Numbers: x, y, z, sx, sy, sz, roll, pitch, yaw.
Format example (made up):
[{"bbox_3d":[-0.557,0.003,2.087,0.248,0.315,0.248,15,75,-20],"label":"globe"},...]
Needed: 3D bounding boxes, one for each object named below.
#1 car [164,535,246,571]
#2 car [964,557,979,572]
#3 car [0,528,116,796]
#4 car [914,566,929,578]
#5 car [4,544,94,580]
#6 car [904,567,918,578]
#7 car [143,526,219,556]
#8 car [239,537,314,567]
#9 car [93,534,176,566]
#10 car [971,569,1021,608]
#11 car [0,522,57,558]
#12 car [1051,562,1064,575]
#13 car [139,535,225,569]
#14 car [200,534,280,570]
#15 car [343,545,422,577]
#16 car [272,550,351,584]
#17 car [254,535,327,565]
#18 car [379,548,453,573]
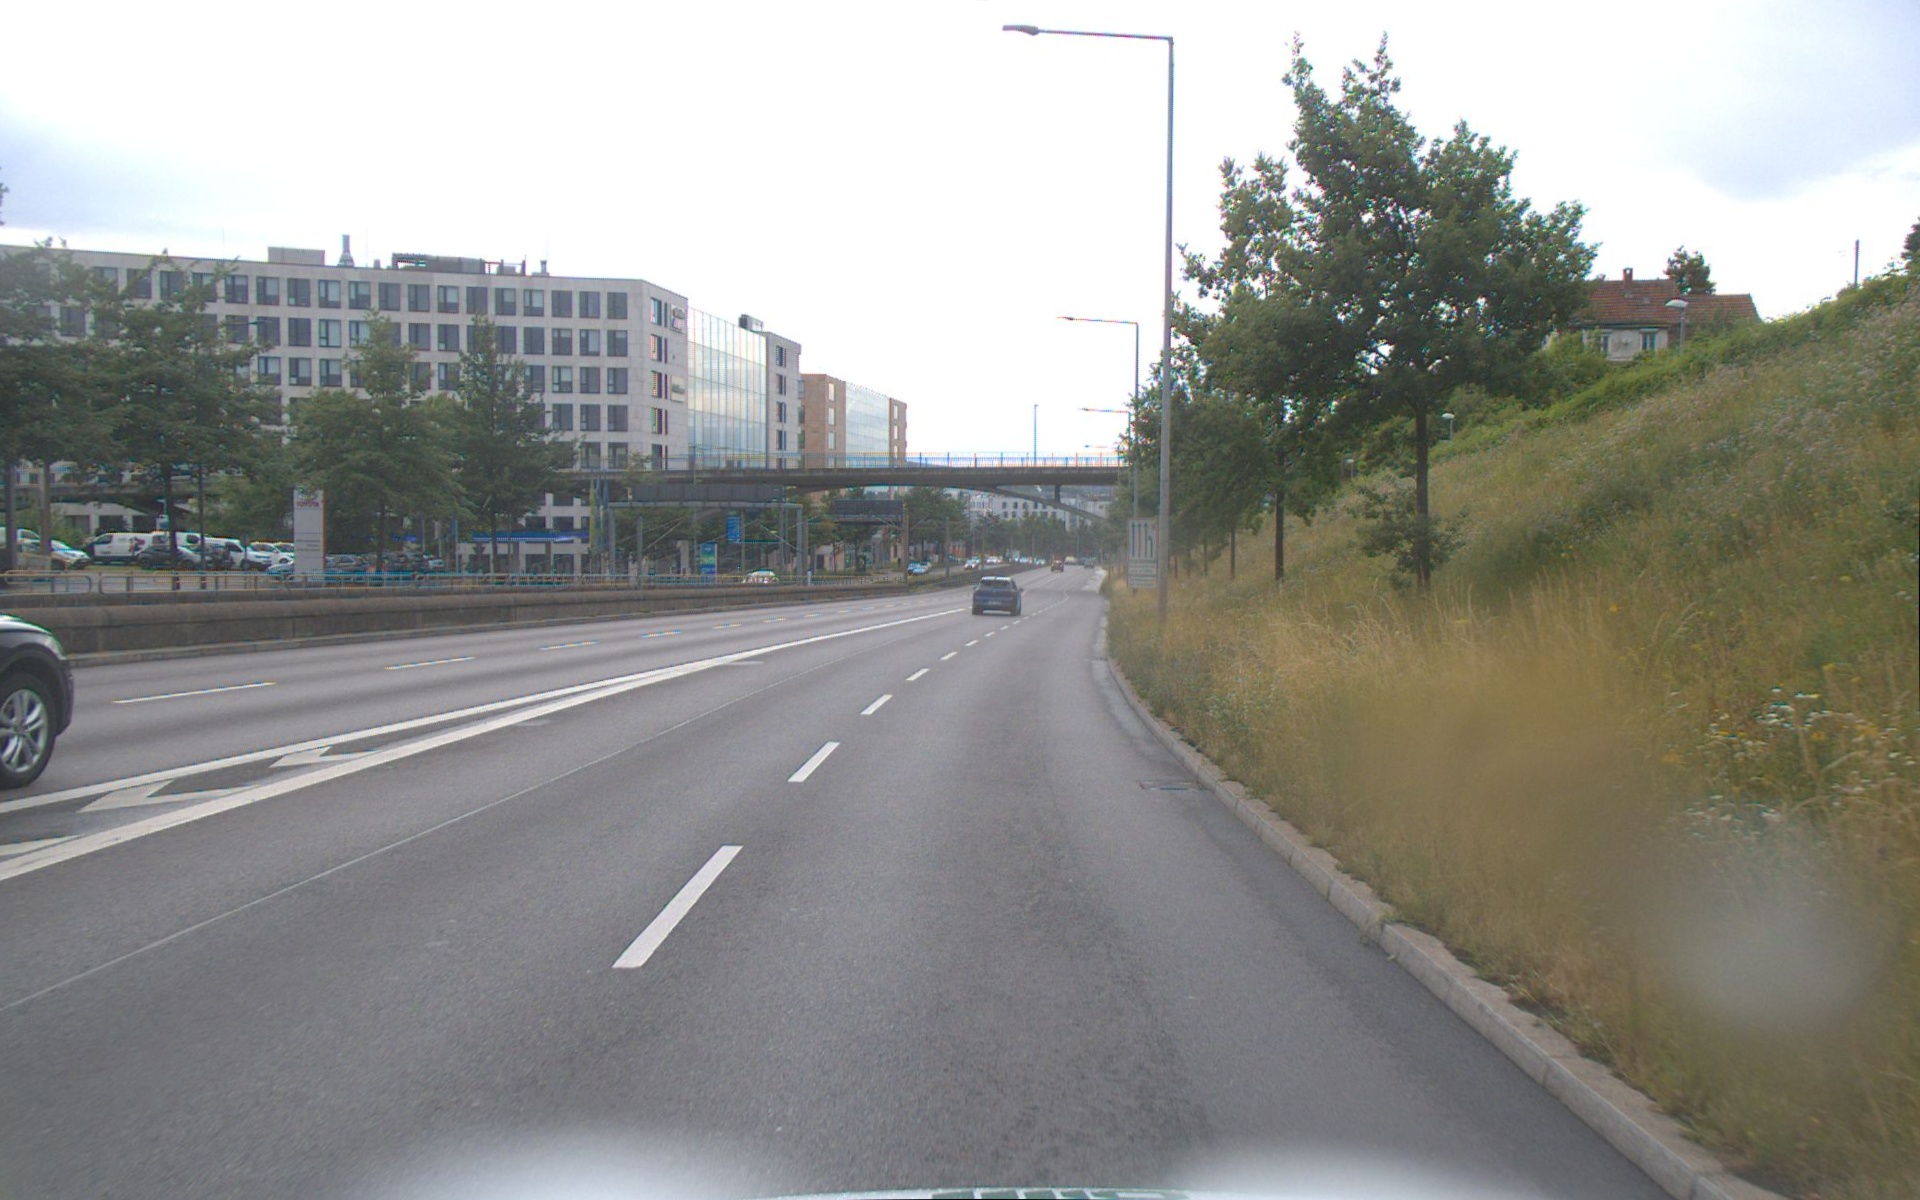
[{"bbox_3d":[-44.196,-2.748,96.824,3.902,2.048,2.002,1,1,10],"label":"car"},{"bbox_3d":[1.765,-5.438,252.030,1.952,2.048,4.004,2,4,4],"label":"car"},{"bbox_3d":[-6.797,0.384,9.064,1.714,1.645,4.751,1,1,3],"label":"car"},{"bbox_3d":[-4.829,-3.535,206.406,1.485,1.444,3.481,1,2,5],"label":"car"},{"bbox_3d":[-49.271,-2.061,89.466,3.902,1.679,2.003,3,4,10],"label":"car"},{"bbox_3d":[-6.449,-3.676,218.710,1.485,1.444,3.481,1,2,5],"label":"car"},{"bbox_3d":[-49.301,-3.737,104.734,3.904,1.679,1.822,2,4,2],"label":"car"},{"bbox_3d":[-43.192,-3.038,104.535,3.902,1.679,2.003,3,4,10],"label":"car"},{"bbox_3d":[-49.136,-2.967,98.481,3.904,1.679,2.002,2,4,3],"label":"car"},{"bbox_3d":[1.435,-0.454,64.605,1.712,1.445,3.480,0,1,6],"label":"car"},{"bbox_3d":[-58.323,-3.720,102.610,3.950,2.083,1.979,0,4,-33],"label":"car"},{"bbox_3d":[14.629,-4.764,248.496,1.824,1.779,4.003,2,4,2],"label":"car"},{"bbox_3d":[-44.266,-2.760,94.136,3.904,1.679,2.002,2,4,3],"label":"car"},{"bbox_3d":[-43.119,-2.862,99.118,3.902,1.908,2.003,3,4,10],"label":"car"},{"bbox_3d":[-34.318,-2.309,98.388,3.902,1.679,2.002,3,2,7],"label":"car"},{"bbox_3d":[-35.589,-1.830,90.754,3.936,1.679,1.985,2,2,-25],"label":"car"},{"bbox_3d":[-43.325,-3.271,107.103,3.902,1.679,2.003,3,4,10],"label":"car"},{"bbox_3d":[-33.926,-2.481,103.208,3.902,1.377,1.851,3,2,7],"label":"car"}]
